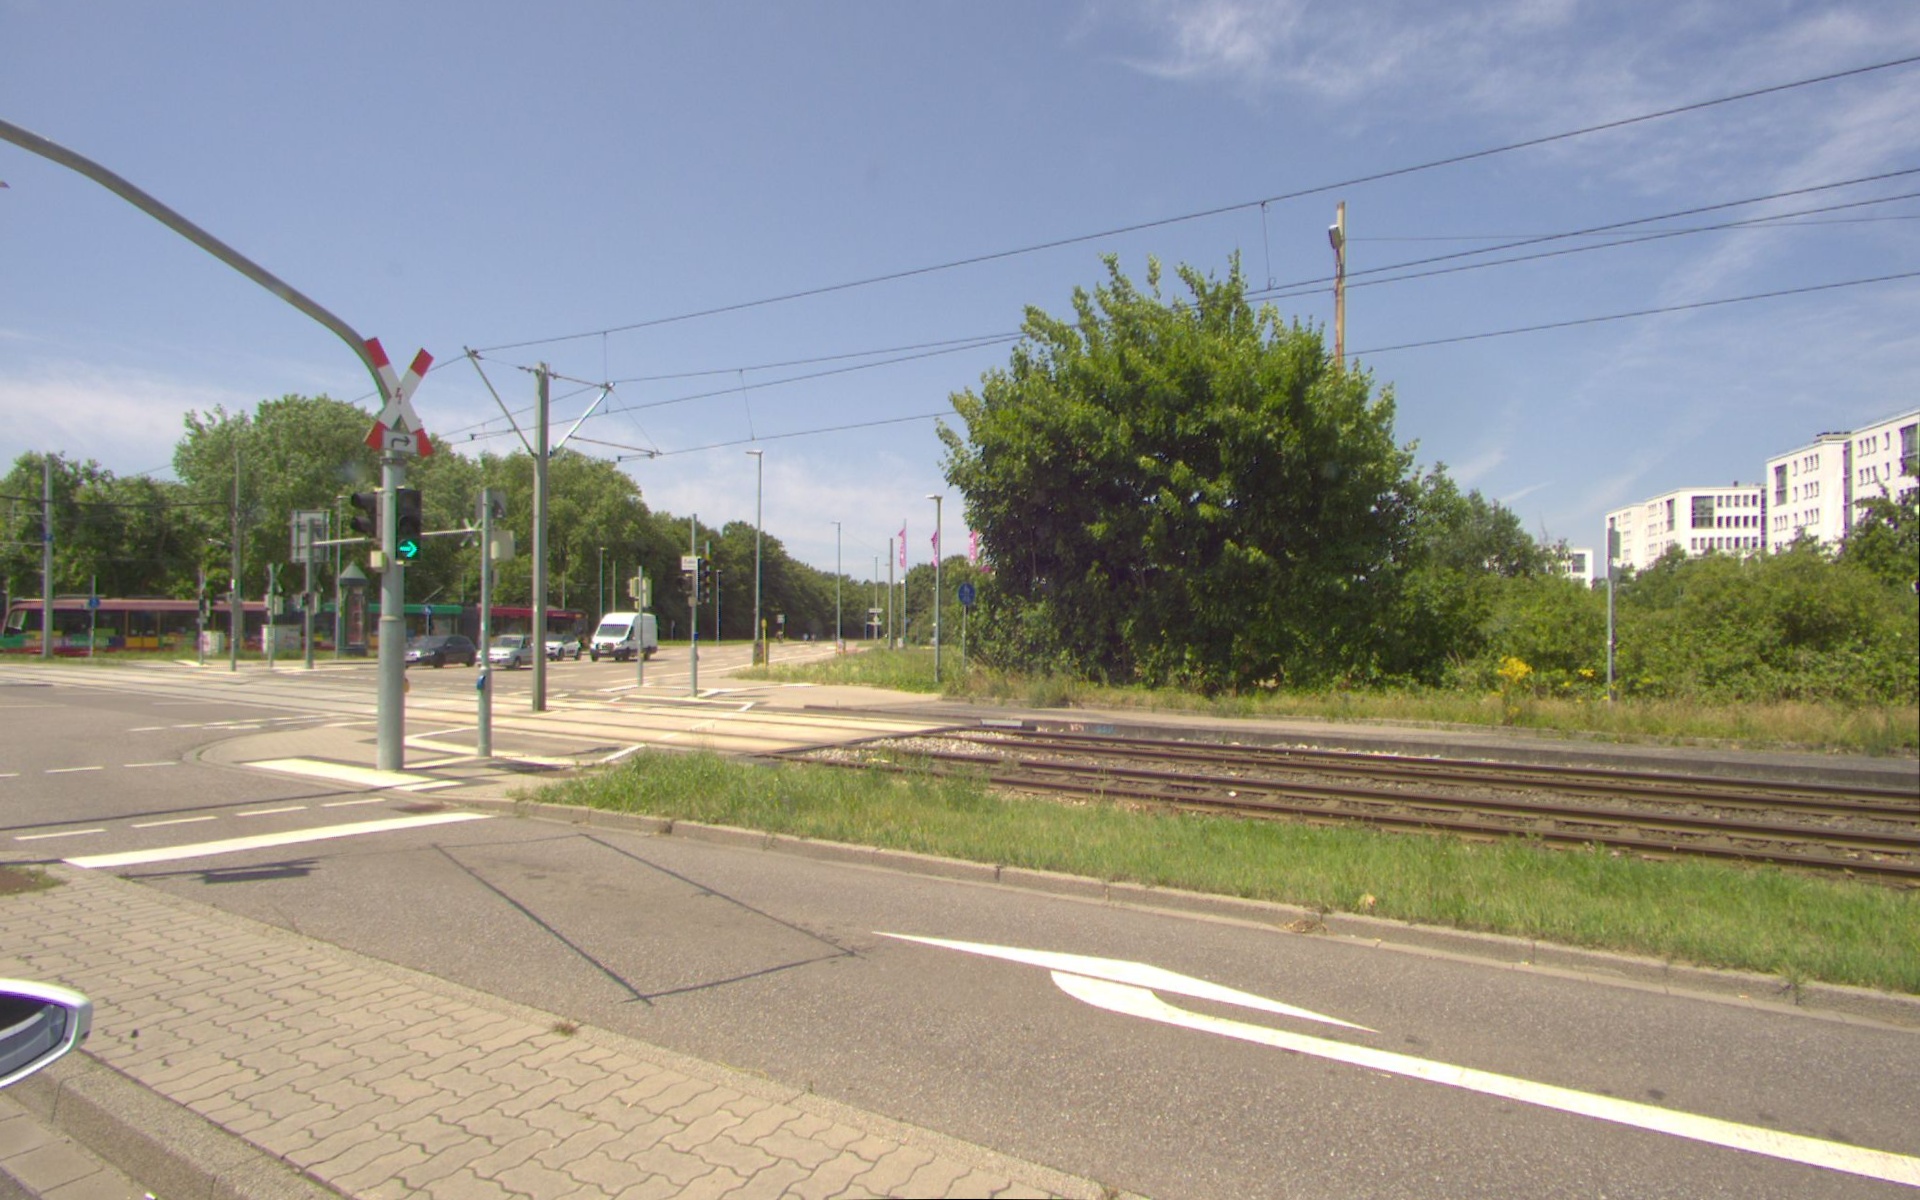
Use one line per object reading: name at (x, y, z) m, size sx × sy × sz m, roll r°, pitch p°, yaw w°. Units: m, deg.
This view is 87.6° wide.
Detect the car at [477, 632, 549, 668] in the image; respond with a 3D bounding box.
car at (-19.494, 2.165, 43.814) m, size 1.608 × 1.481 × 3.807 m, roll 0°, pitch -2°, yaw -3°

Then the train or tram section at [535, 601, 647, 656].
train or tram section at (-30.941, 2.577, 84.964) m, size 2.867 × 3.965 × 13.978 m, roll -2°, pitch -4°, yaw 7°

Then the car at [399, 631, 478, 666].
car at (-22.857, 2.092, 44.019) m, size 1.608 × 1.481 × 3.510 m, roll 0°, pitch -2°, yaw 0°

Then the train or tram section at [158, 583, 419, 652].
train or tram section at (-41.571, 1.216, 62.649) m, size 13.301 × 3.857 × 2.903 m, roll 2°, pitch -5°, yaw -38°

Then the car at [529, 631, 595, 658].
car at (-22.398, 2.481, 56.484) m, size 1.608 × 1.481 × 4.495 m, roll 0°, pitch -2°, yaw 5°

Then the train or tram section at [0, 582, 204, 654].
train or tram section at (-51.514, 1.082, 57.189) m, size 12.861 × 3.857 × 2.918 m, roll 0°, pitch -4°, yaw -23°

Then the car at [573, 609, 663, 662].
car at (-19.599, 2.030, 57.865) m, size 2.664 × 2.838 × 7.287 m, roll 0°, pitch -2°, yaw 0°

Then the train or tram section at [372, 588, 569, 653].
train or tram section at (-34.672, 1.690, 72.100) m, size 2.878 × 3.965 × 14.006 m, roll -3°, pitch -5°, yaw 25°
